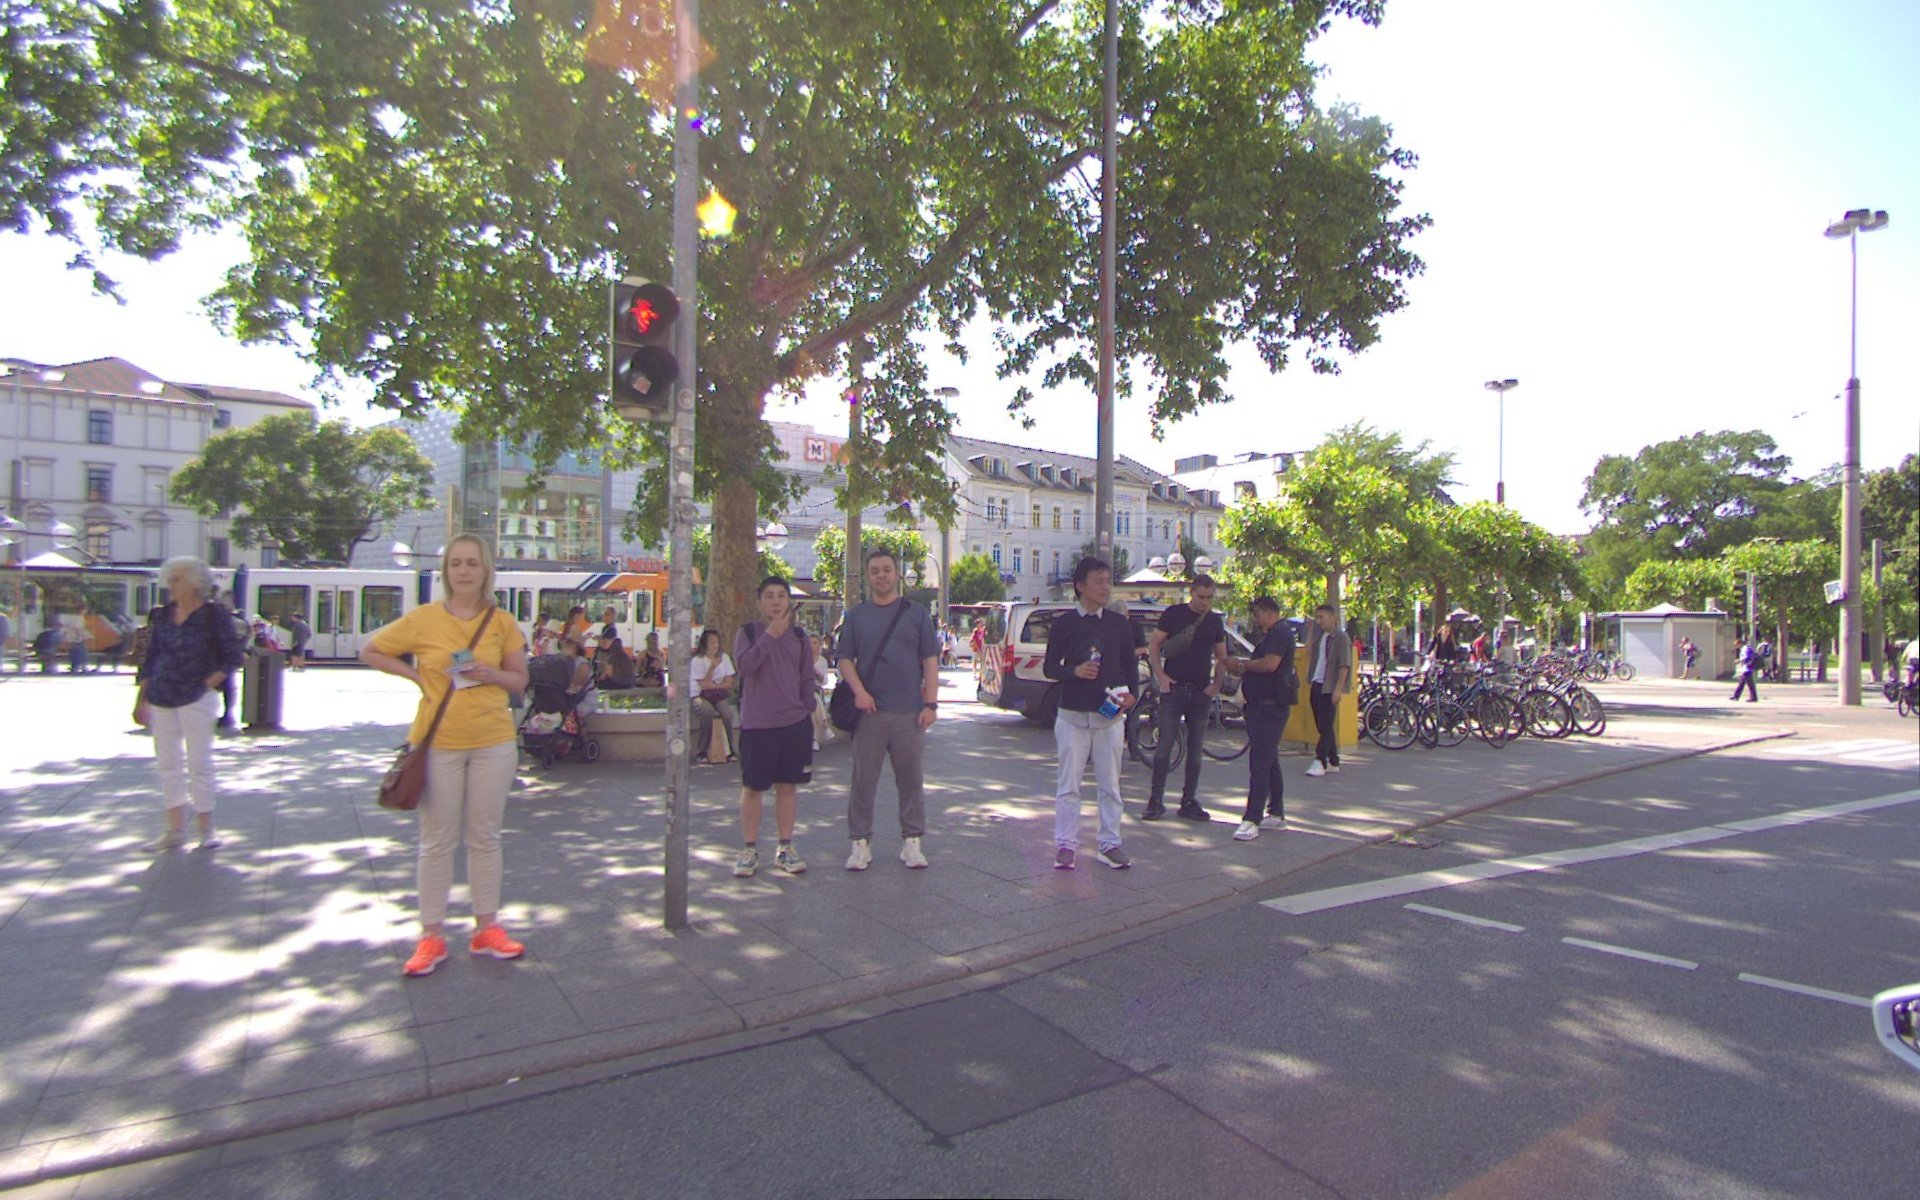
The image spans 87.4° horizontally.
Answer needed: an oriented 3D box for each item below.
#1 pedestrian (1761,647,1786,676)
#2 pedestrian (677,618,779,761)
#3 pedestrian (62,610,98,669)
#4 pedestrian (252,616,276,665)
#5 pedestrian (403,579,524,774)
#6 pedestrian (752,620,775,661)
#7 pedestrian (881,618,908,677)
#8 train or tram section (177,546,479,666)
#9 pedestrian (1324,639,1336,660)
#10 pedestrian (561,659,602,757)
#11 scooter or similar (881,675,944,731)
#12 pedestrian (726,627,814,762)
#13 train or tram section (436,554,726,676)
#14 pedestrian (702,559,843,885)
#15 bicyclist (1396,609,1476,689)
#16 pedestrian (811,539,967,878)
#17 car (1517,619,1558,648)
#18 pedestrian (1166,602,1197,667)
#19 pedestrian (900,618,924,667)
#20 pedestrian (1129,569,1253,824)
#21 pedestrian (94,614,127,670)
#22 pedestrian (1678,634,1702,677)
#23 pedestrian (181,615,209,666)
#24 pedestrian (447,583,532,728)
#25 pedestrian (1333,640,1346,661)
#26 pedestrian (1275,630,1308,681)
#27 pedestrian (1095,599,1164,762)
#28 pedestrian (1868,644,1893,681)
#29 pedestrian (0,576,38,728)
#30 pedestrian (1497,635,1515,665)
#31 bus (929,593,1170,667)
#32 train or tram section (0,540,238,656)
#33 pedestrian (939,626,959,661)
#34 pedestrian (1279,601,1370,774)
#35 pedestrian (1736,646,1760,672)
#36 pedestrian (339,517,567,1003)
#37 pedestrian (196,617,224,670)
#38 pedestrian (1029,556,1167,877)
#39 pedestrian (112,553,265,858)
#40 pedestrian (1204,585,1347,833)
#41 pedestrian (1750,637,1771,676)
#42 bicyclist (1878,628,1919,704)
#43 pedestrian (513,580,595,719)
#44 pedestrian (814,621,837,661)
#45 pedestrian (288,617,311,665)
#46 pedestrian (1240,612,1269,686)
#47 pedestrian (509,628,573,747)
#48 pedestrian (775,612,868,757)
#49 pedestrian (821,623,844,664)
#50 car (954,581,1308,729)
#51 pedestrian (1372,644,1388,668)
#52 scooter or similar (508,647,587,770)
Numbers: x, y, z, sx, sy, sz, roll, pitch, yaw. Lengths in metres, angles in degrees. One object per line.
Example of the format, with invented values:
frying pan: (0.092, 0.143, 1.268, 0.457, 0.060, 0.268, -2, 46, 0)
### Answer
pedestrian: (36.511, 2.747, 45.107, 0.746, 1.263, 0.670, 1, -4, -37)
pedestrian: (-2.487, 0.929, 10.761, 0.777, 1.426, 0.743, 2, 0, -41)
pedestrian: (-22.590, 1.010, 25.803, 0.524, 1.492, 0.552, 2, 0, -24)
pedestrian: (-21.910, 1.269, 31.629, 0.549, 1.492, 0.751, 2, 0, -31)
pedestrian: (-4.721, 0.701, 9.600, 0.768, 1.770, 0.751, 2, 0, -5)
pedestrian: (-7.642, 1.581, 39.108, 0.569, 1.569, 0.678, -3, -3, 35)
pedestrian: (-1.996, 1.424, 30.470, 0.552, 1.753, 0.587, 0, -1, 37)
train or tram section: (-22.718, 0.185, 36.390, 9.329, 3.878, 2.623, 2, 0, 2)
pedestrian: (22.435, 2.997, 60.947, 0.445, 1.279, 0.517, 0, -3, -15)
pedestrian: (-3.946, 1.119, 10.480, 0.276, 0.980, 0.340, 2, 0, 0)
scooter or similar: (-0.622, 1.366, 13.359, 0.770, 0.656, 0.580, 2, 0, 2)
pedestrian: (-2.162, 1.041, 11.423, 0.668, 1.443, 0.743, 1, 1, -41)
train or tram section: (-13.441, 0.505, 36.008, 9.329, 3.878, 2.623, 2, 0, 2)
pedestrian: (-1.084, 0.663, 5.780, 0.600, 1.737, 0.600, 2, -2, -33)
bicyclist: (9.580, 0.968, 20.247, 0.822, 1.518, 1.151, 2, 0, -30)
pedestrian: (-0.425, 0.614, 6.012, 0.730, 1.870, 0.590, 2, -2, -33)
car: (71.646, 4.148, 124.665, 5.360, 3.360, 2.115, 2, 0, -32)
pedestrian: (6.373, 0.993, 28.857, 0.598, 1.839, 0.573, 1, -3, -31)
pedestrian: (-1.831, 1.610, 38.133, 0.615, 1.818, 0.678, -3, -3, 37)
pedestrian: (1.761, 0.712, 7.688, 0.705, 1.860, 0.515, 2, 0, -24)
pedestrian: (-23.149, 1.131, 27.371, 0.524, 1.492, 0.552, 2, 0, -24)
pedestrian: (29.945, 2.265, 41.207, 0.741, 1.751, 0.836, -3, -3, 36)
pedestrian: (-23.153, 1.228, 30.411, 0.549, 1.492, 0.751, 2, 0, -31)
pedestrian: (-6.009, 0.685, 12.822, 0.777, 1.770, 0.743, 1, 1, -41)
pedestrian: (22.991, 3.058, 60.852, 0.445, 1.279, 0.517, 0, -3, -15)
pedestrian: (10.193, 1.705, 30.906, 0.673, 1.544, 0.620, 1, -3, -31)
pedestrian: (1.905, 0.879, 11.286, 0.515, 1.766, 0.509, 1, 1, -44)
pedestrian: (41.071, 2.794, 44.811, 0.617, 1.630, 0.524, 0, -3, -22)
pedestrian: (-11.569, 0.599, 11.917, 0.774, 1.770, 0.745, 2, 0, -33)
pedestrian: (27.502, 2.515, 50.608, 0.667, 1.485, 0.625, 2, -2, 23)
bus: (4.720, 1.589, 52.969, 12.244, 3.465, 3.059, 2, 0, -12)
train or tram section: (-32.010, -0.134, 36.762, 9.329, 3.878, 2.623, 2, 0, 2)
pedestrian: (-0.462, 1.850, 42.793, 0.615, 1.484, 0.551, -3, -3, 37)
pedestrian: (3.823, 0.884, 10.522, 0.638, 1.714, 0.635, 1, 1, -44)
pedestrian: (36.313, 2.707, 46.272, 0.746, 1.186, 0.670, 1, -4, -37)
pedestrian: (-2.088, 0.591, 4.124, 0.744, 1.770, 0.607, 2, -1, -33)
pedestrian: (-22.031, 1.268, 29.509, 0.549, 1.492, 0.751, 2, 0, -31)
pedestrian: (0.806, 0.665, 6.015, 0.728, 1.807, 0.538, 2, 0, 4)
pedestrian: (-4.818, 0.614, 6.323, 0.659, 1.770, 0.745, 2, 0, -32)
pedestrian: (2.221, 0.745, 7.144, 0.738, 1.670, 0.631, 2, 0, -5)
pedestrian: (34.111, 2.397, 42.805, 0.566, 1.630, 0.602, -3, -3, 30)
bicyclist: (20.894, 1.434, 22.053, 0.891, 1.643, 0.814, 0, -2, -29)
pedestrian: (-5.423, 0.637, 13.410, 0.777, 1.770, 0.743, 1, 1, -41)
pedestrian: (-5.302, 1.627, 39.610, 0.569, 1.569, 0.678, -3, -3, 35)
pedestrian: (-21.039, 1.298, 31.993, 0.549, 1.492, 0.751, 2, 0, -31)
pedestrian: (7.329, 1.217, 24.994, 0.612, 1.817, 0.681, -2, -3, 17)
pedestrian: (-4.710, 0.962, 11.273, 0.607, 1.258, 0.667, 2, 0, -25)
pedestrian: (-1.642, 0.970, 11.923, 0.777, 1.618, 0.743, 2, 1, -41)
pedestrian: (-4.906, 1.675, 38.707, 0.569, 1.569, 0.678, -3, -3, 35)
car: (2.541, 0.822, 15.524, 4.976, 2.040, 1.996, 2, 0, -10)
pedestrian: (25.744, 3.435, 61.582, 0.671, 1.485, 0.621, 3, -2, -24)
scooter or similar: (-4.035, 1.049, 9.851, 0.528, 1.134, 0.568, 2, 0, -4)
